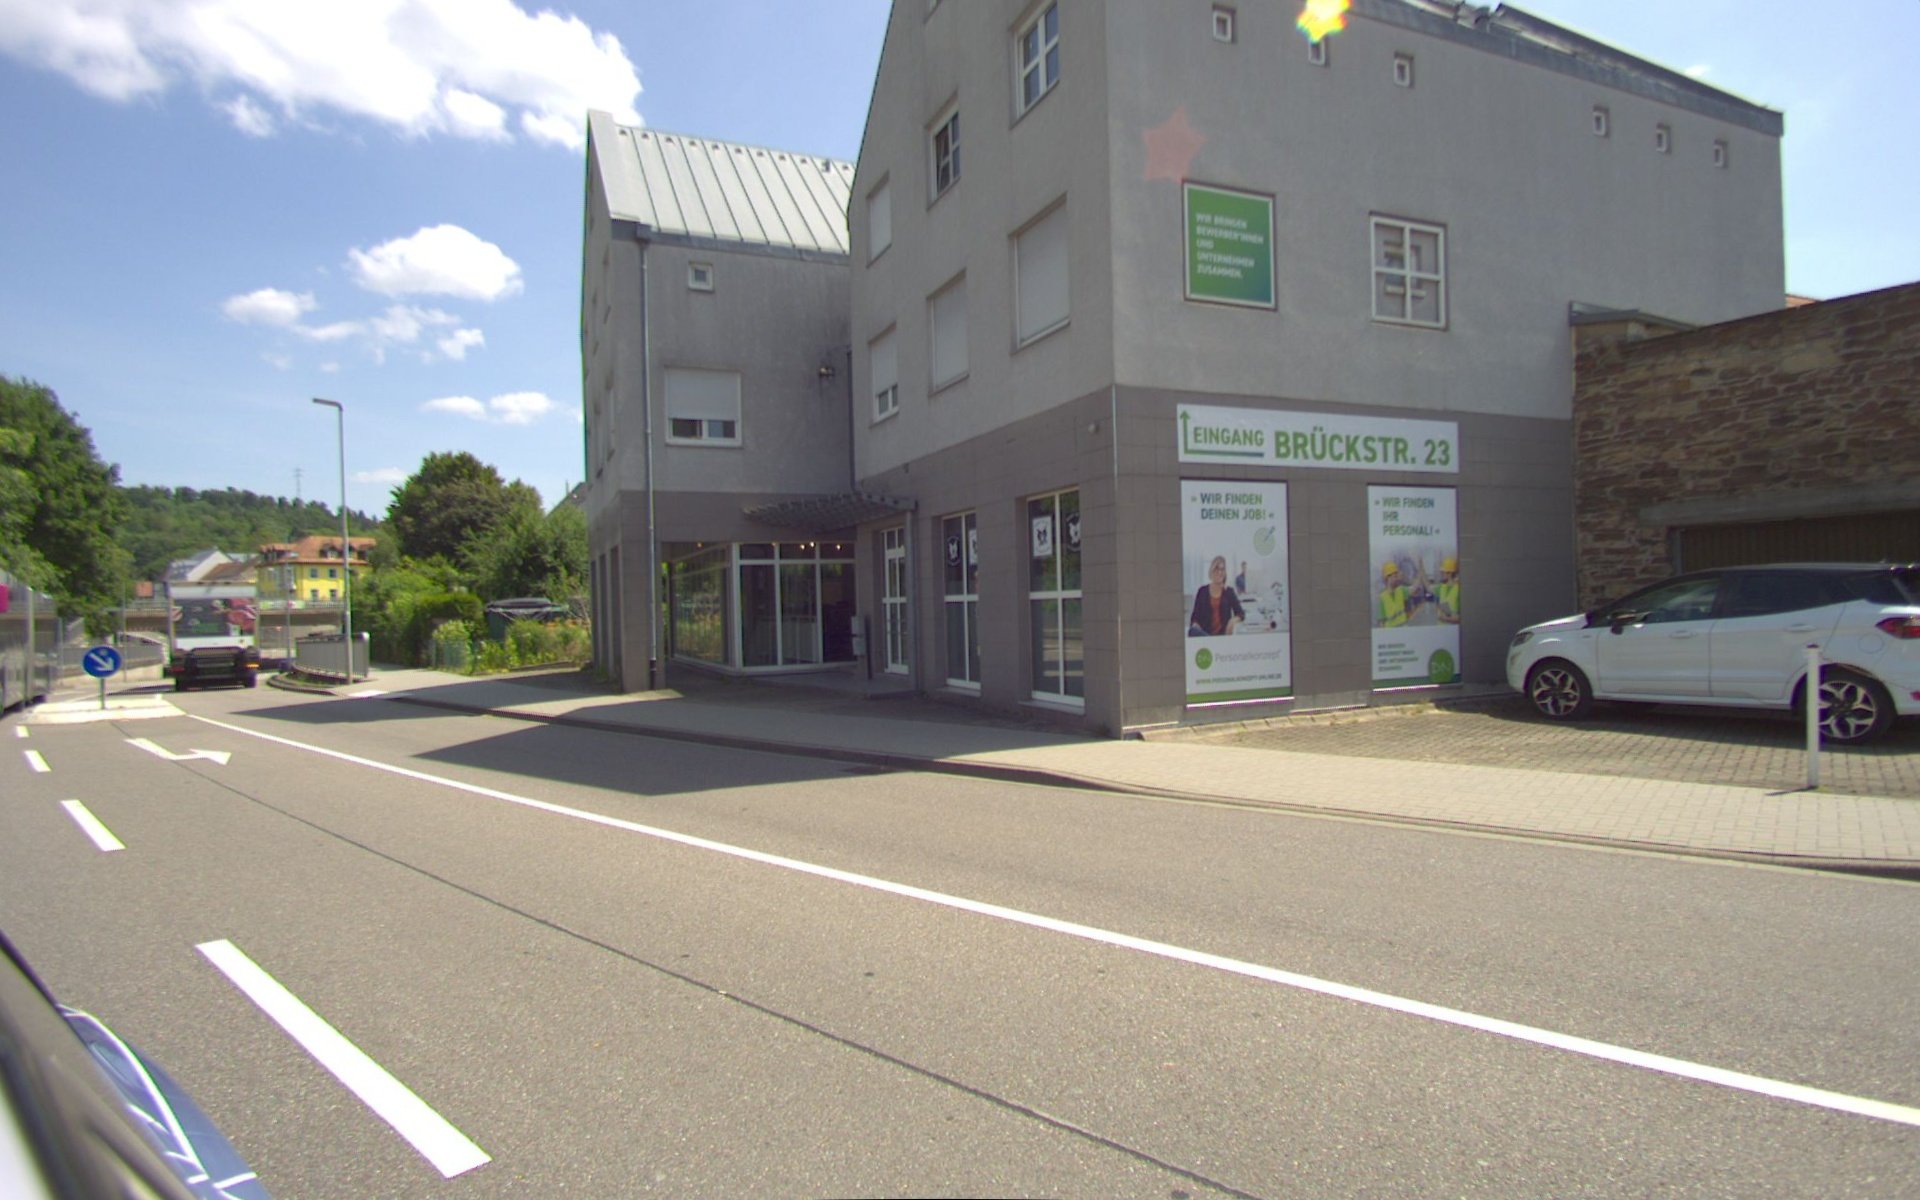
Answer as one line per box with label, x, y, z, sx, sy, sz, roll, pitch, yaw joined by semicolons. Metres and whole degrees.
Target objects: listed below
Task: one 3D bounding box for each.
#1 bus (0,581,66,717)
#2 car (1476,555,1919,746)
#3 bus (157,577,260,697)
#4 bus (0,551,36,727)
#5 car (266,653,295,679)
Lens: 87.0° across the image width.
bus;-24.547;1.331;25.375;2.713;2.990;9.297;0;-3;-39
car;7.944;0.466;10.441;1.966;1.587;4.266;-1;-1;-29
bus;-29.125;1.521;39.148;2.774;4.032;10.989;-1;-2;-37
bus;-18.748;0.793;18.068;2.713;2.990;9.297;0;-3;-39
car;-57.973;5.612;86.317;1.967;2.029;4.009;0;-1;-36
